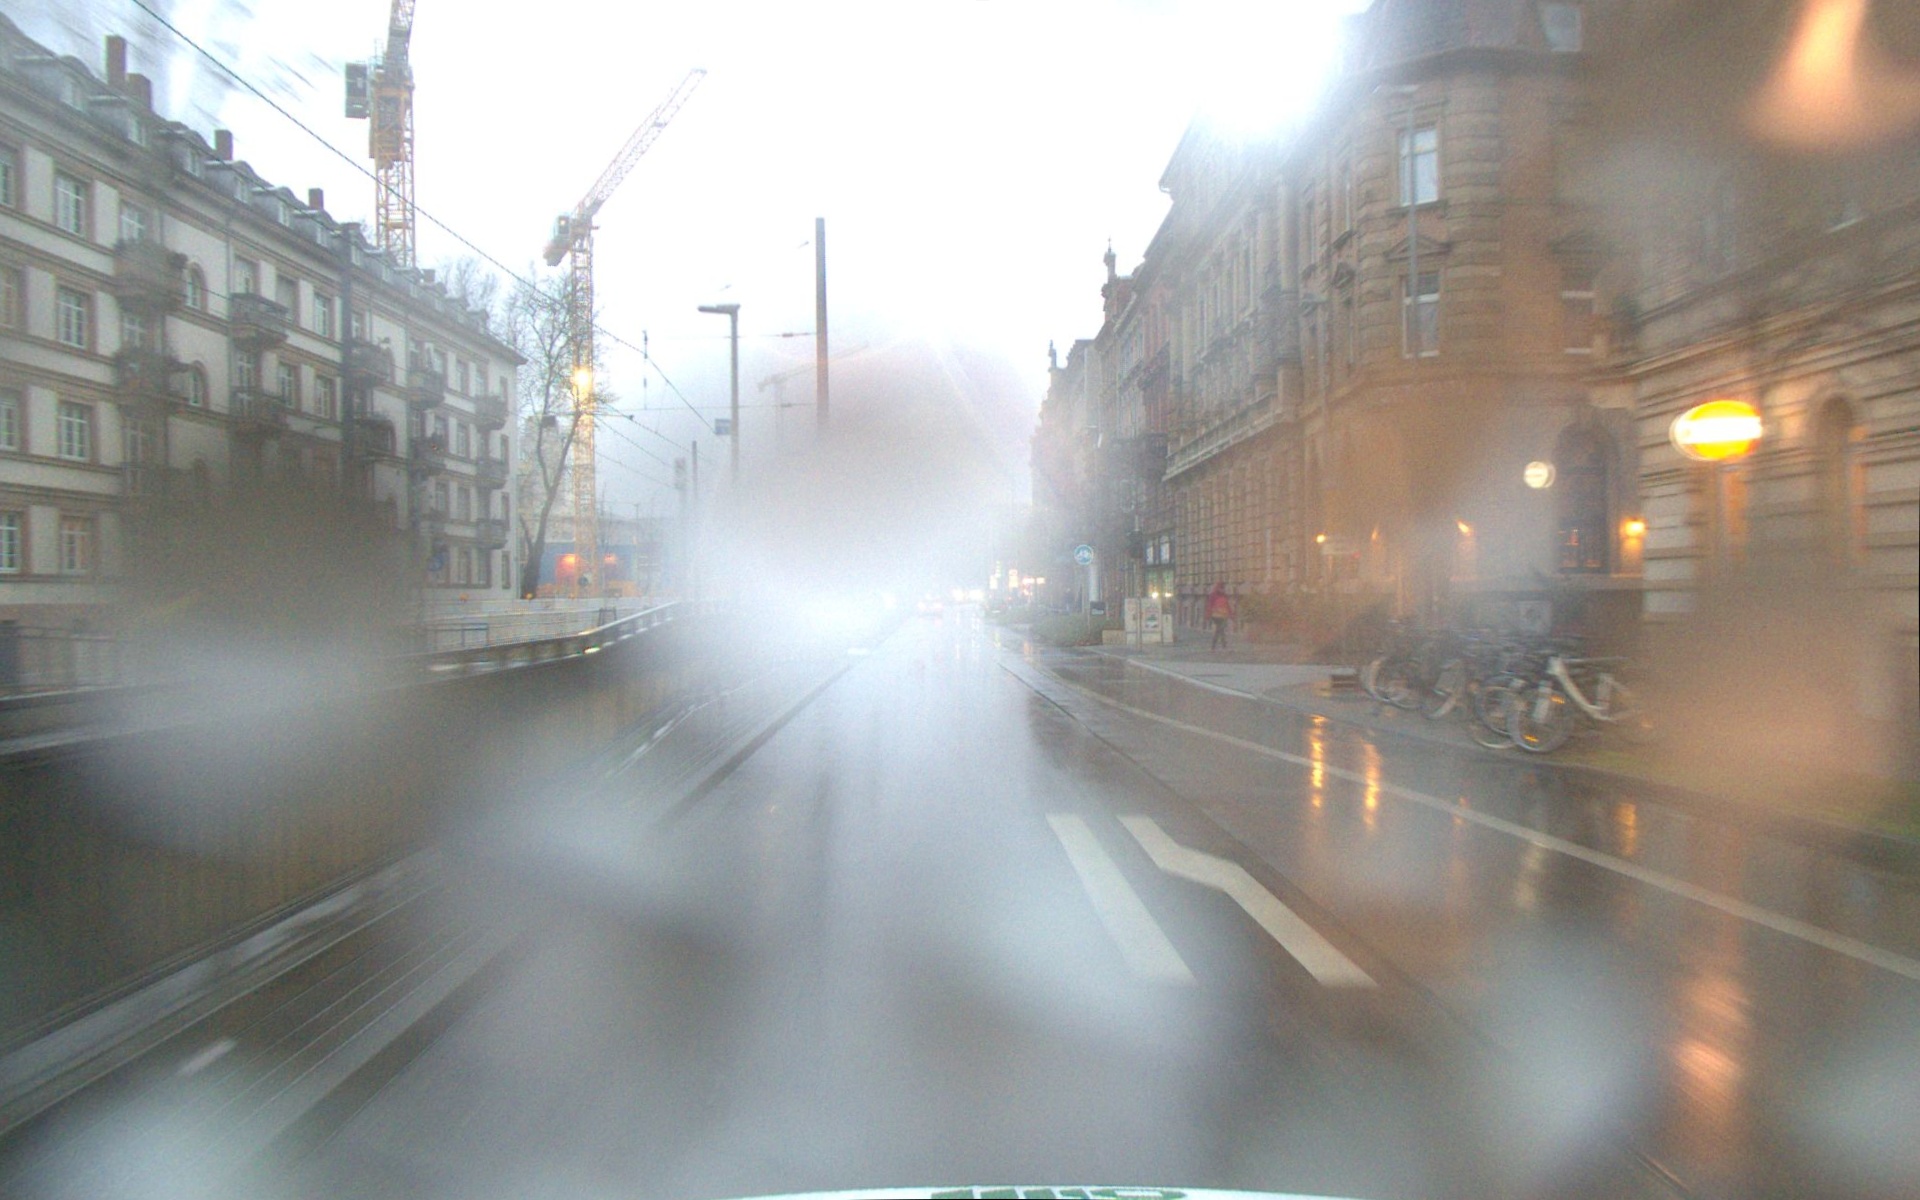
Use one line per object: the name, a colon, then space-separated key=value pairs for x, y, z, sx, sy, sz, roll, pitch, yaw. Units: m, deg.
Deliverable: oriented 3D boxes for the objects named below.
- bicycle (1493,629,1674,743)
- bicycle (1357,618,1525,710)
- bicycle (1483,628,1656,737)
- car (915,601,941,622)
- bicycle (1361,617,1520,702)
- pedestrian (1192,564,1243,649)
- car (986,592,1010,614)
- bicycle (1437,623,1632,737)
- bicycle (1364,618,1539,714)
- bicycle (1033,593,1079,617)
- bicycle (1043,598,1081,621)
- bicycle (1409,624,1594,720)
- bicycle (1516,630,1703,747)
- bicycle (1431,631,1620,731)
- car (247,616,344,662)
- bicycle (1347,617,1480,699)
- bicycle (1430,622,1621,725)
bicycle: x=6.396 y=0.873 z=16.980 sx=1.695 sy=1.073 sz=0.371 roll=-2 pitch=0 yaw=-3
bicycle: x=6.364 y=0.842 z=21.907 sx=2.046 sy=1.070 sz=0.478 roll=-3 pitch=0 yaw=-3
bicycle: x=6.503 y=0.877 z=17.665 sx=1.695 sy=1.073 sz=0.371 roll=-2 pitch=0 yaw=-3
car: x=-2.313 y=0.824 z=120.623 sx=1.747 sy=1.492 sz=3.149 roll=-1 pitch=0 yaw=1
bicycle: x=6.673 y=0.819 z=22.980 sx=2.046 sy=1.070 sz=0.478 roll=-2 pitch=0 yaw=-3
pedestrian: x=6.288 y=0.144 z=40.385 sx=0.844 sy=2.049 sz=0.909 roll=-1 pitch=0 yaw=-31
car: x=2.856 y=0.201 z=124.409 sx=1.762 sy=1.632 sz=3.770 roll=-1 pitch=0 yaw=1
bicycle: x=6.358 y=0.878 z=18.330 sx=1.968 sy=1.114 sz=0.425 roll=-4 pitch=0 yaw=-3
bicycle: x=6.345 y=0.842 z=21.396 sx=2.101 sy=1.073 sz=0.425 roll=-4 pitch=1 yaw=-3
bicycle: x=4.517 y=0.236 z=77.905 sx=2.106 sy=1.076 sz=0.525 roll=-1 pitch=0 yaw=-7
bicycle: x=5.067 y=0.456 z=82.044 sx=1.814 sy=1.077 sz=0.471 roll=-1 pitch=0 yaw=-4
bicycle: x=6.650 y=0.880 z=20.338 sx=2.101 sy=1.073 sz=0.484 roll=-2 pitch=0 yaw=-3
bicycle: x=6.464 y=0.871 z=16.480 sx=1.695 sy=1.073 sz=0.371 roll=-2 pitch=0 yaw=-3
bicycle: x=6.436 y=0.914 z=18.848 sx=1.968 sy=0.988 sz=0.425 roll=-4 pitch=0 yaw=-3
car: x=-18.152 y=1.042 z=45.317 sx=1.425 sy=1.143 sz=3.424 roll=-1 pitch=0 yaw=-3
bicycle: x=6.600 y=0.826 z=24.034 sx=2.063 sy=1.070 sz=0.474 roll=-2 pitch=0 yaw=-28
bicycle: x=6.725 y=0.871 z=19.707 sx=2.101 sy=1.073 sz=0.425 roll=-3 pitch=1 yaw=-3
